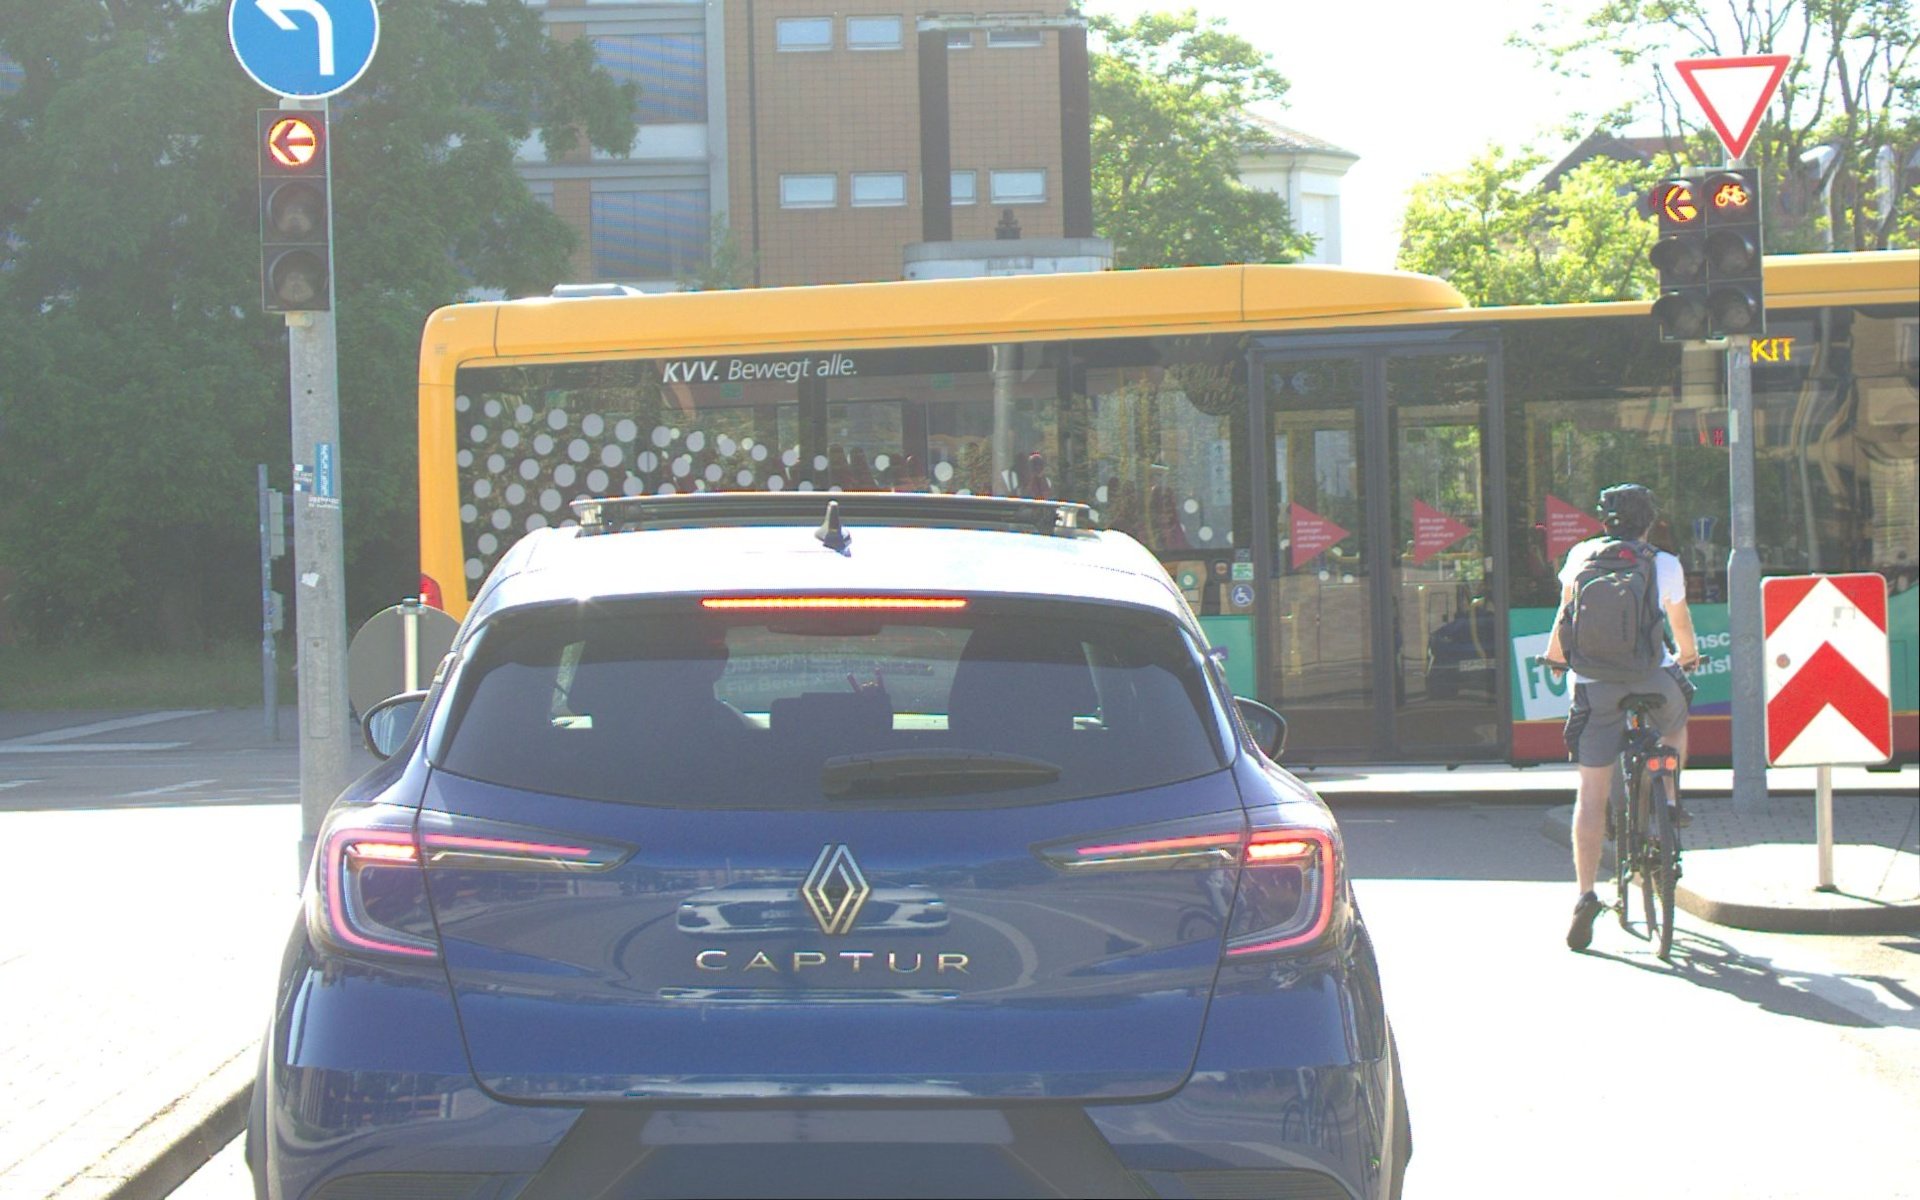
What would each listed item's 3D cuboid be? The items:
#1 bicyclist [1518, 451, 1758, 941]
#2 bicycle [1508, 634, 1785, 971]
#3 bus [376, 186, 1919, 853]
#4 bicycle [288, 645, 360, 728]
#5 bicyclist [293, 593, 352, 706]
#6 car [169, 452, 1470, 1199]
[{"bbox_3d":[2.545,0.347,12.992,0.676,1.779,0.940,1,0,-2],"label":"bicyclist"},{"bbox_3d":[2.556,0.718,12.973,0.615,1.134,1.826,0,1,-2],"label":"bicycle"},{"bbox_3d":[2.992,-0.422,20.541,12.429,3.558,3.248,-1,1,13],"label":"bus"},{"bbox_3d":[-8.124,1.116,43.860,0.698,1.004,1.868,-2,-2,-16],"label":"bicycle"},{"bbox_3d":[-8.123,0.636,43.810,0.647,1.407,0.639,-1,-2,-16],"label":"bicyclist"},{"bbox_3d":[-0.245,0.591,6.695,1.794,1.649,3.853,0,1,-2],"label":"car"}]
